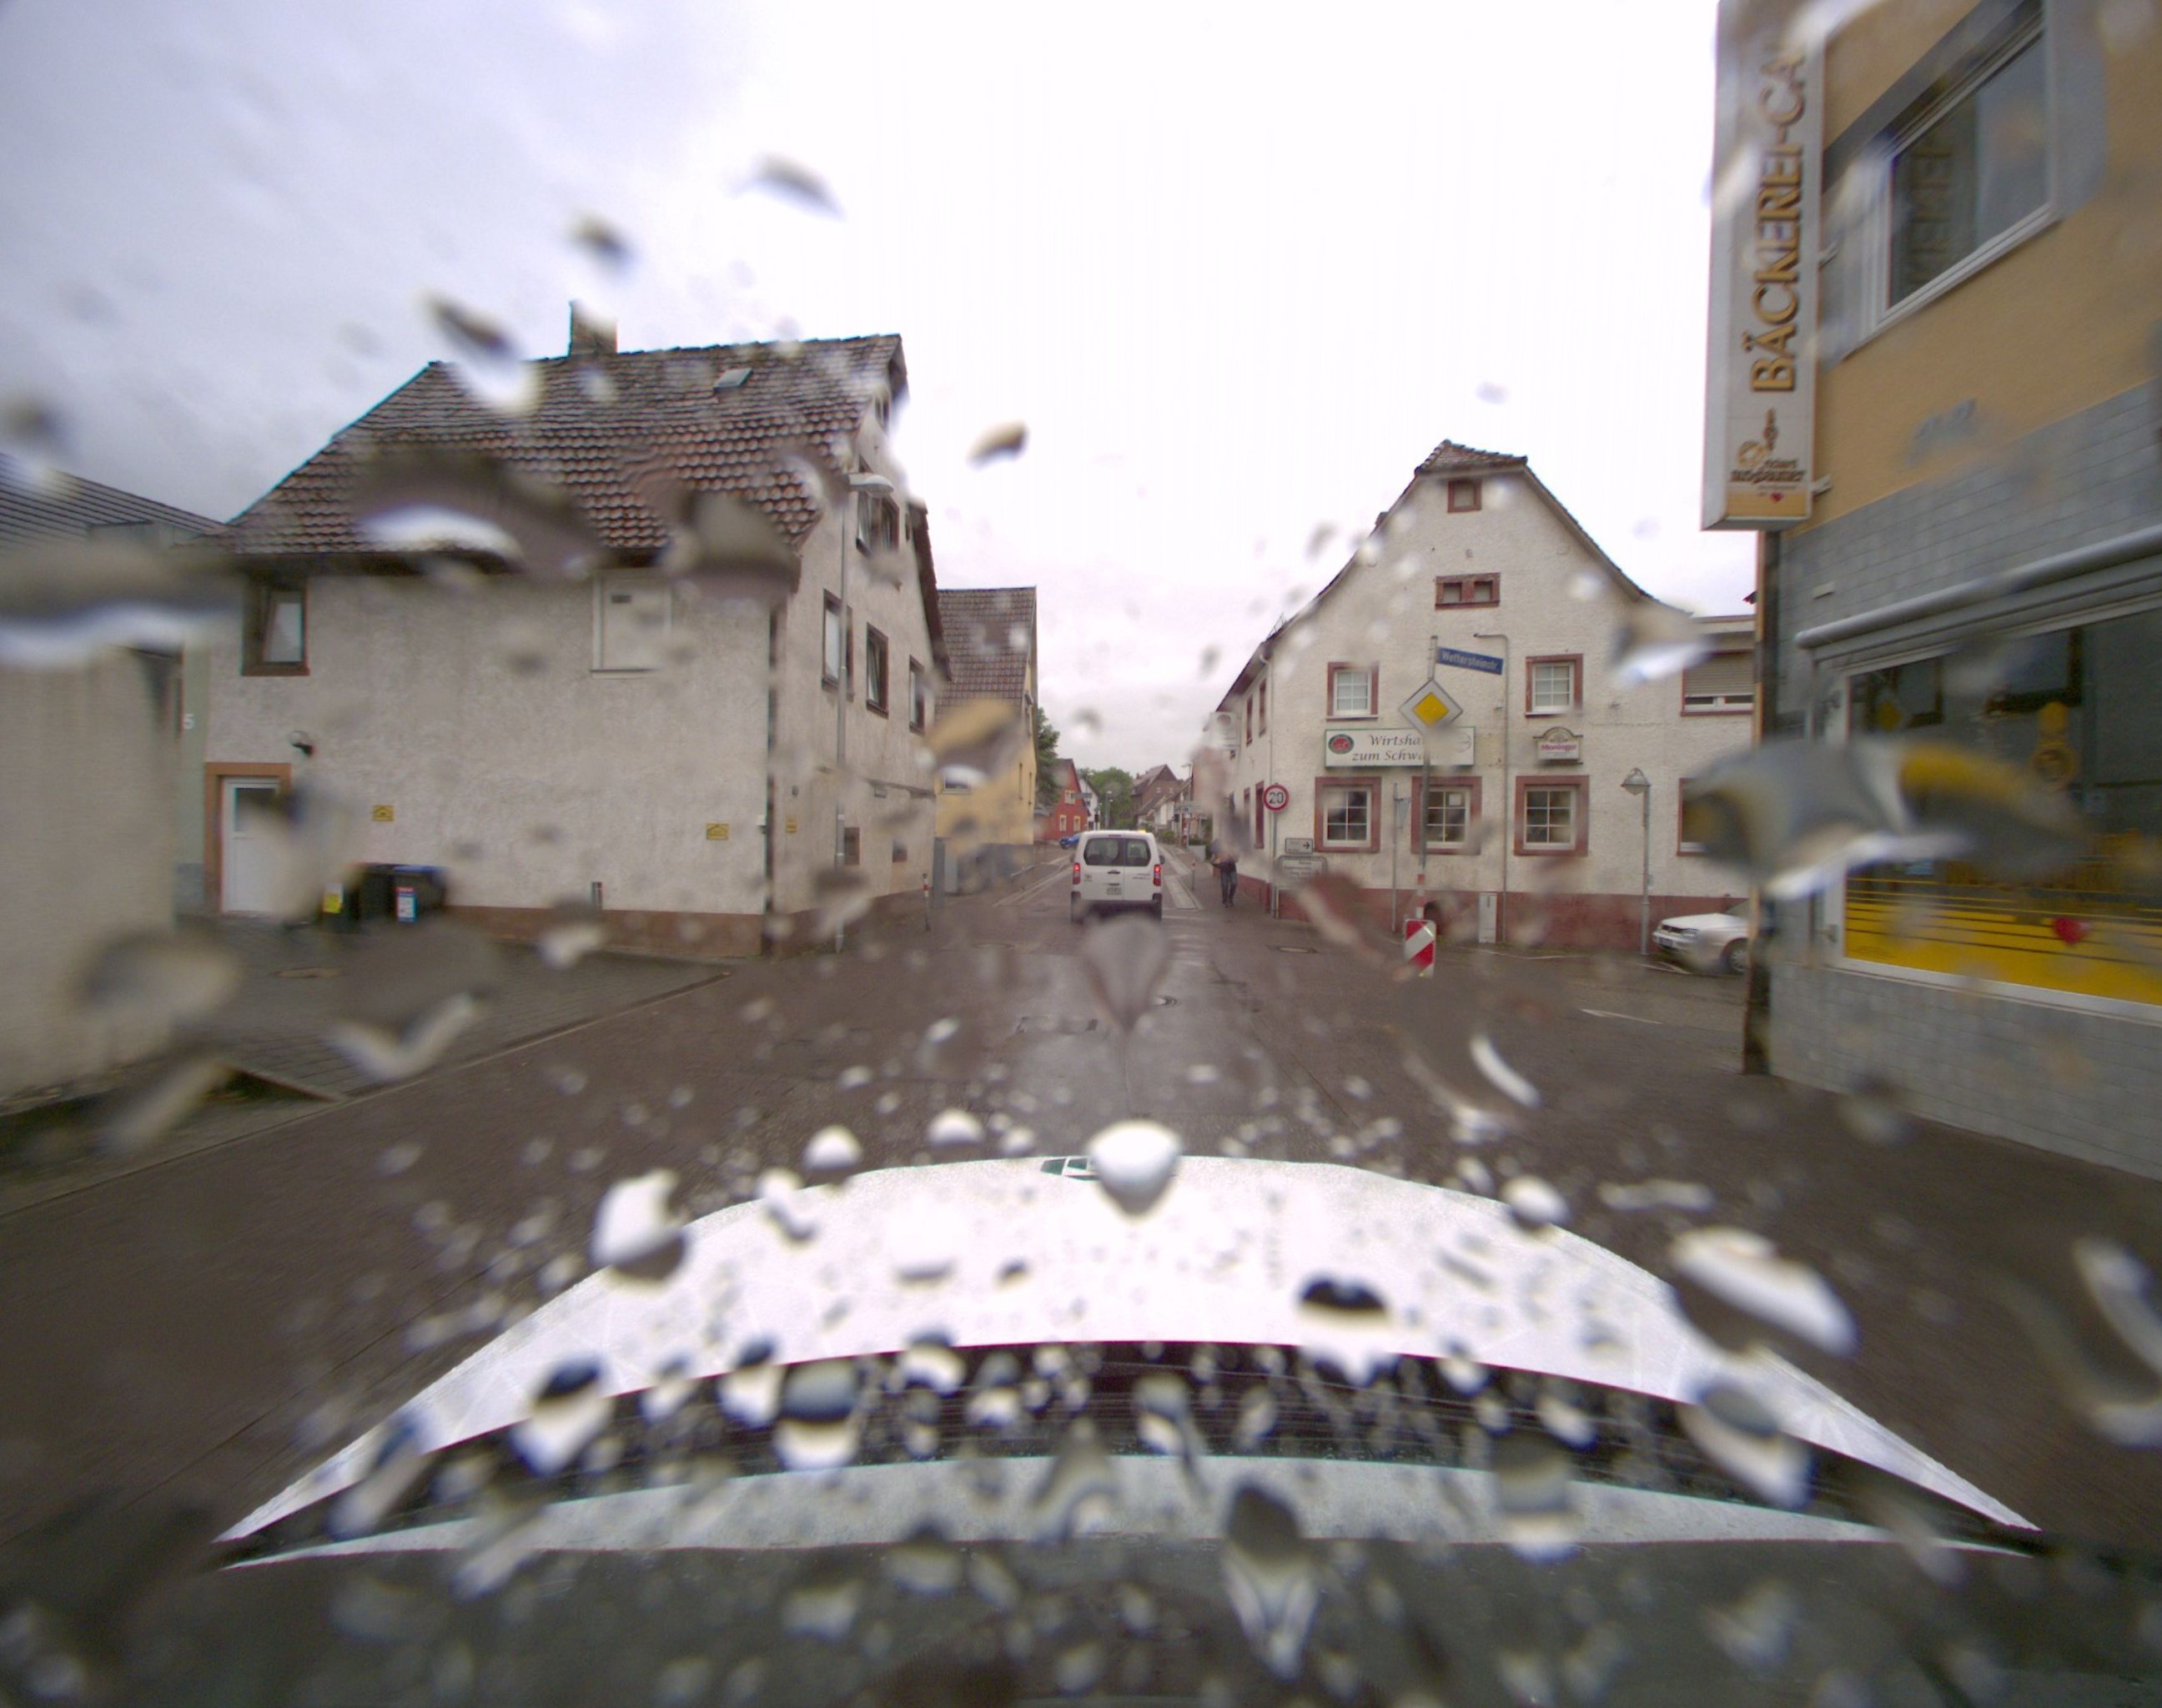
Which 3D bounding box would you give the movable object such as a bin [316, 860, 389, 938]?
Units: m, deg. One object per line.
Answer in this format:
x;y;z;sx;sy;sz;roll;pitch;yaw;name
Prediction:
-9.428;0.573;10.547;0.447;0.950;0.509;3;1;5;movable object such as a bin

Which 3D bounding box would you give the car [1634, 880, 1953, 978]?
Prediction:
12.341;1.257;14.372;3.924;1.373;1.668;2;1;11;car

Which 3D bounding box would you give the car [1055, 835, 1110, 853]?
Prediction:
0.135;-0.816;66.952;4.015;1.373;2.089;0;0;-33;car

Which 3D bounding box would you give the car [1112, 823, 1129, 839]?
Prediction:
4.284;-2.531;89.179;1.805;1.778;4.021;0;2;3;car

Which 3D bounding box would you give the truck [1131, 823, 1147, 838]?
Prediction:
9.277;-3.703;129.984;2.342;2.425;4.952;0;1;2;truck

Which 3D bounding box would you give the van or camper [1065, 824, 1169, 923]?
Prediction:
0.737;0.357;17.333;1.936;1.851;4.002;-1;0;2;van or camper

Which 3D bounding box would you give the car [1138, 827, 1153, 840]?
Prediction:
9.186;-2.930;116.065;1.986;1.747;4.002;0;1;2;car

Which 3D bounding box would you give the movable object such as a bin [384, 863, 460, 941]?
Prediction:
-8.499;0.609;10.512;0.486;0.950;0.555;3;1;5;movable object such as a bin

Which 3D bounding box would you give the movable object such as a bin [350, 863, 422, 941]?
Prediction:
-8.992;0.605;10.551;0.447;0.950;0.509;3;1;5;movable object such as a bin

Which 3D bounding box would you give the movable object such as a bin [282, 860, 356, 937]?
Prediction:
-9.931;0.567;10.622;0.447;0.950;0.509;3;1;5;movable object such as a bin

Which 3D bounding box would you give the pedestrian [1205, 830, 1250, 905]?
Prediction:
3.508;0.299;19.584;0.988;1.735;0.813;1;3;7;pedestrian
